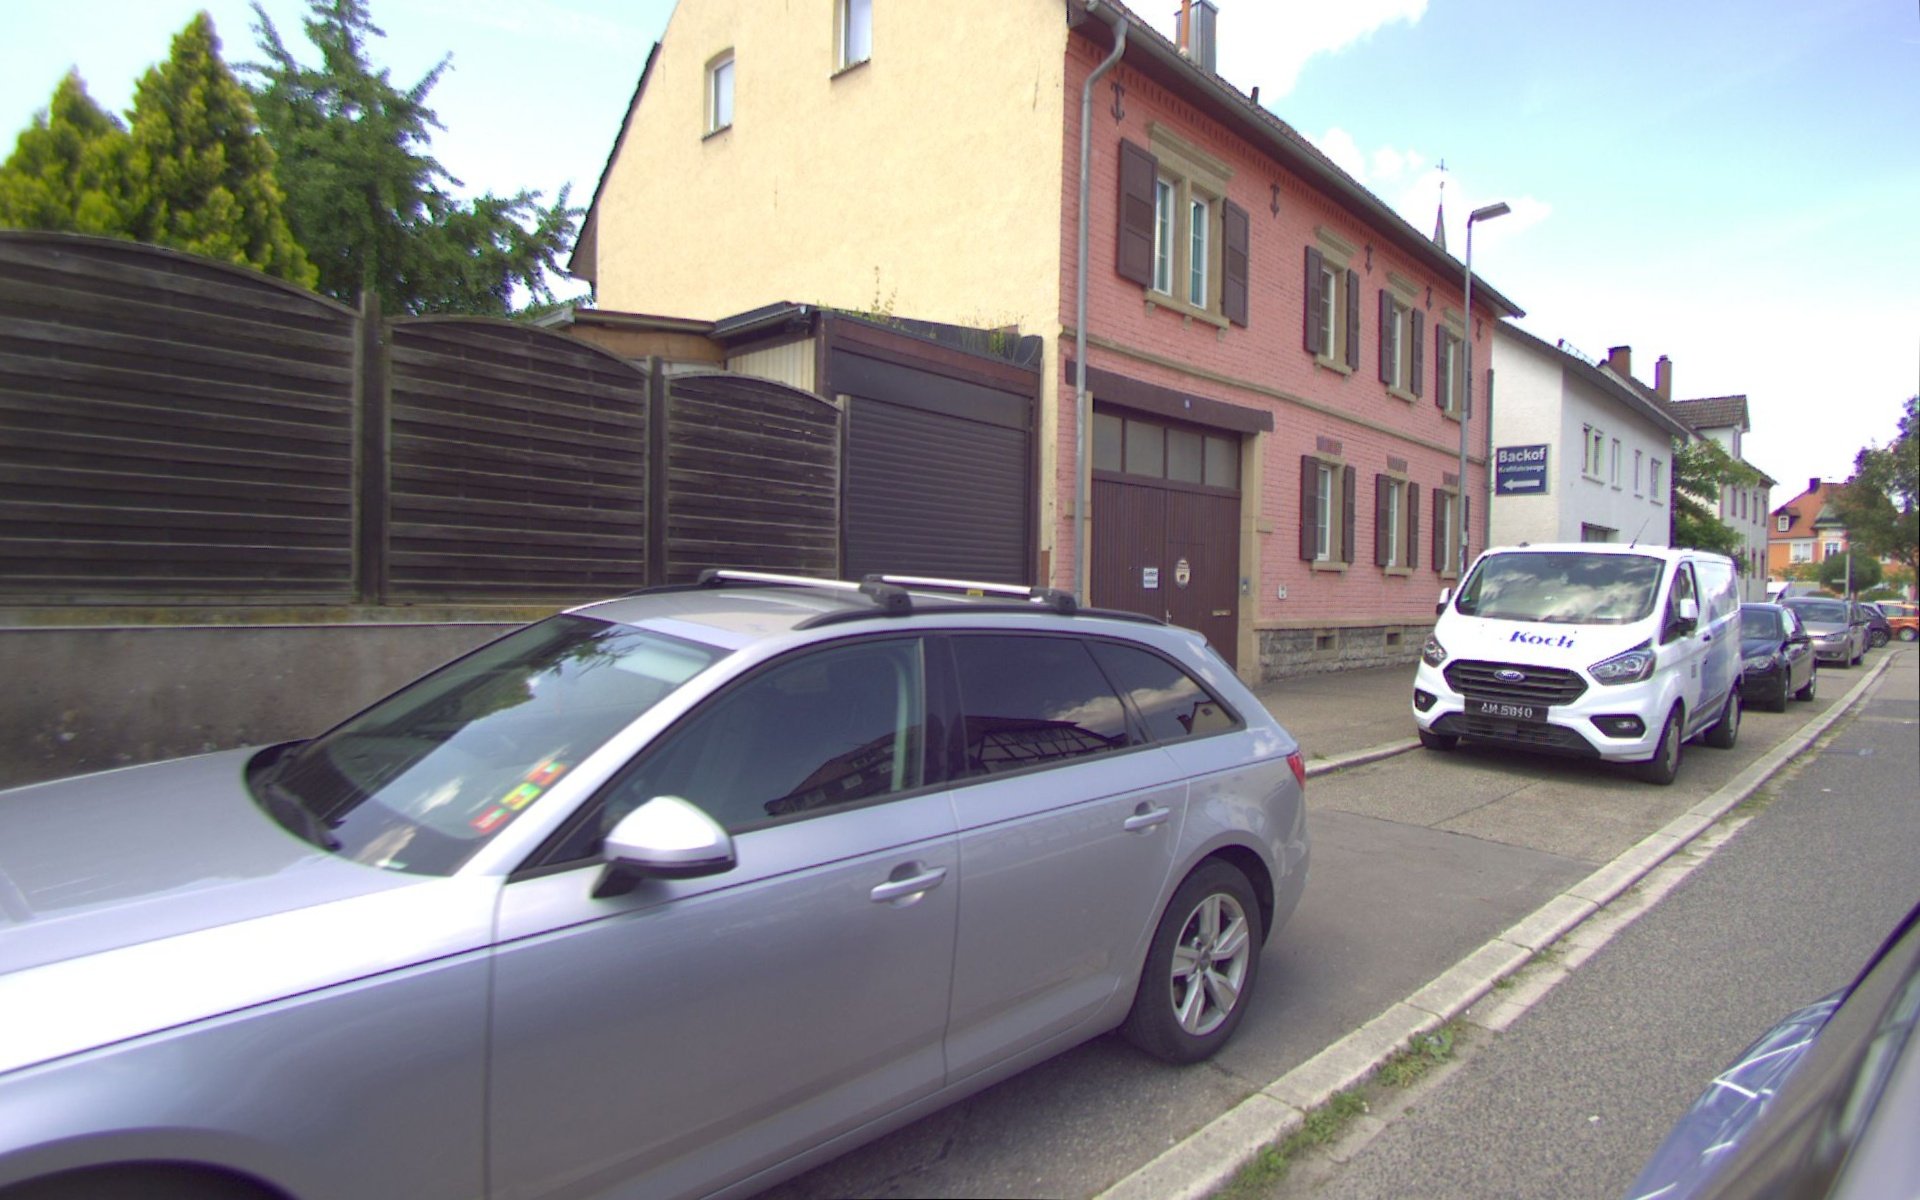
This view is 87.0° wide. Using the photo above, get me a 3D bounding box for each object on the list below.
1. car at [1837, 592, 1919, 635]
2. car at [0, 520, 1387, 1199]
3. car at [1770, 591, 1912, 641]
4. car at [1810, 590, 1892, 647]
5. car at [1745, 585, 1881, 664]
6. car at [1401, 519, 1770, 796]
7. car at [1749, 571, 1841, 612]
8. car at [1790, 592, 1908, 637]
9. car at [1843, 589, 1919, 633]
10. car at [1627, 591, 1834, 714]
[{"bbox_3d":[37.813,0.544,40.913,1.697,1.596,3.382,0,2,-43],"label":"car"},{"bbox_3d":[-0.681,0.614,3.000,4.596,1.500,1.878,0,2,-43],"label":"car"},{"bbox_3d":[30.595,0.520,35.268,3.198,1.523,1.814,3,2,21],"label":"car"},{"bbox_3d":[28.435,0.538,32.263,4.202,1.644,1.663,0,2,-45],"label":"car"},{"bbox_3d":[20.551,0.522,24.324,4.250,1.701,1.996,0,2,-43],"label":"car"},{"bbox_3d":[6.218,0.361,9.764,1.894,2.006,4.851,5,4,45],"label":"car"},{"bbox_3d":[64.207,-0.684,77.795,6.967,2.999,2.767,0,2,-26],"label":"car"},{"bbox_3d":[32.583,0.507,37.173,2.757,1.523,1.863,2,1,24],"label":"car"},{"bbox_3d":[39.683,0.480,42.464,3.850,1.596,1.822,5,5,44],"label":"car"},{"bbox_3d":[11.586,0.671,15.116,4.092,1.513,1.777,0,3,-43],"label":"car"}]
